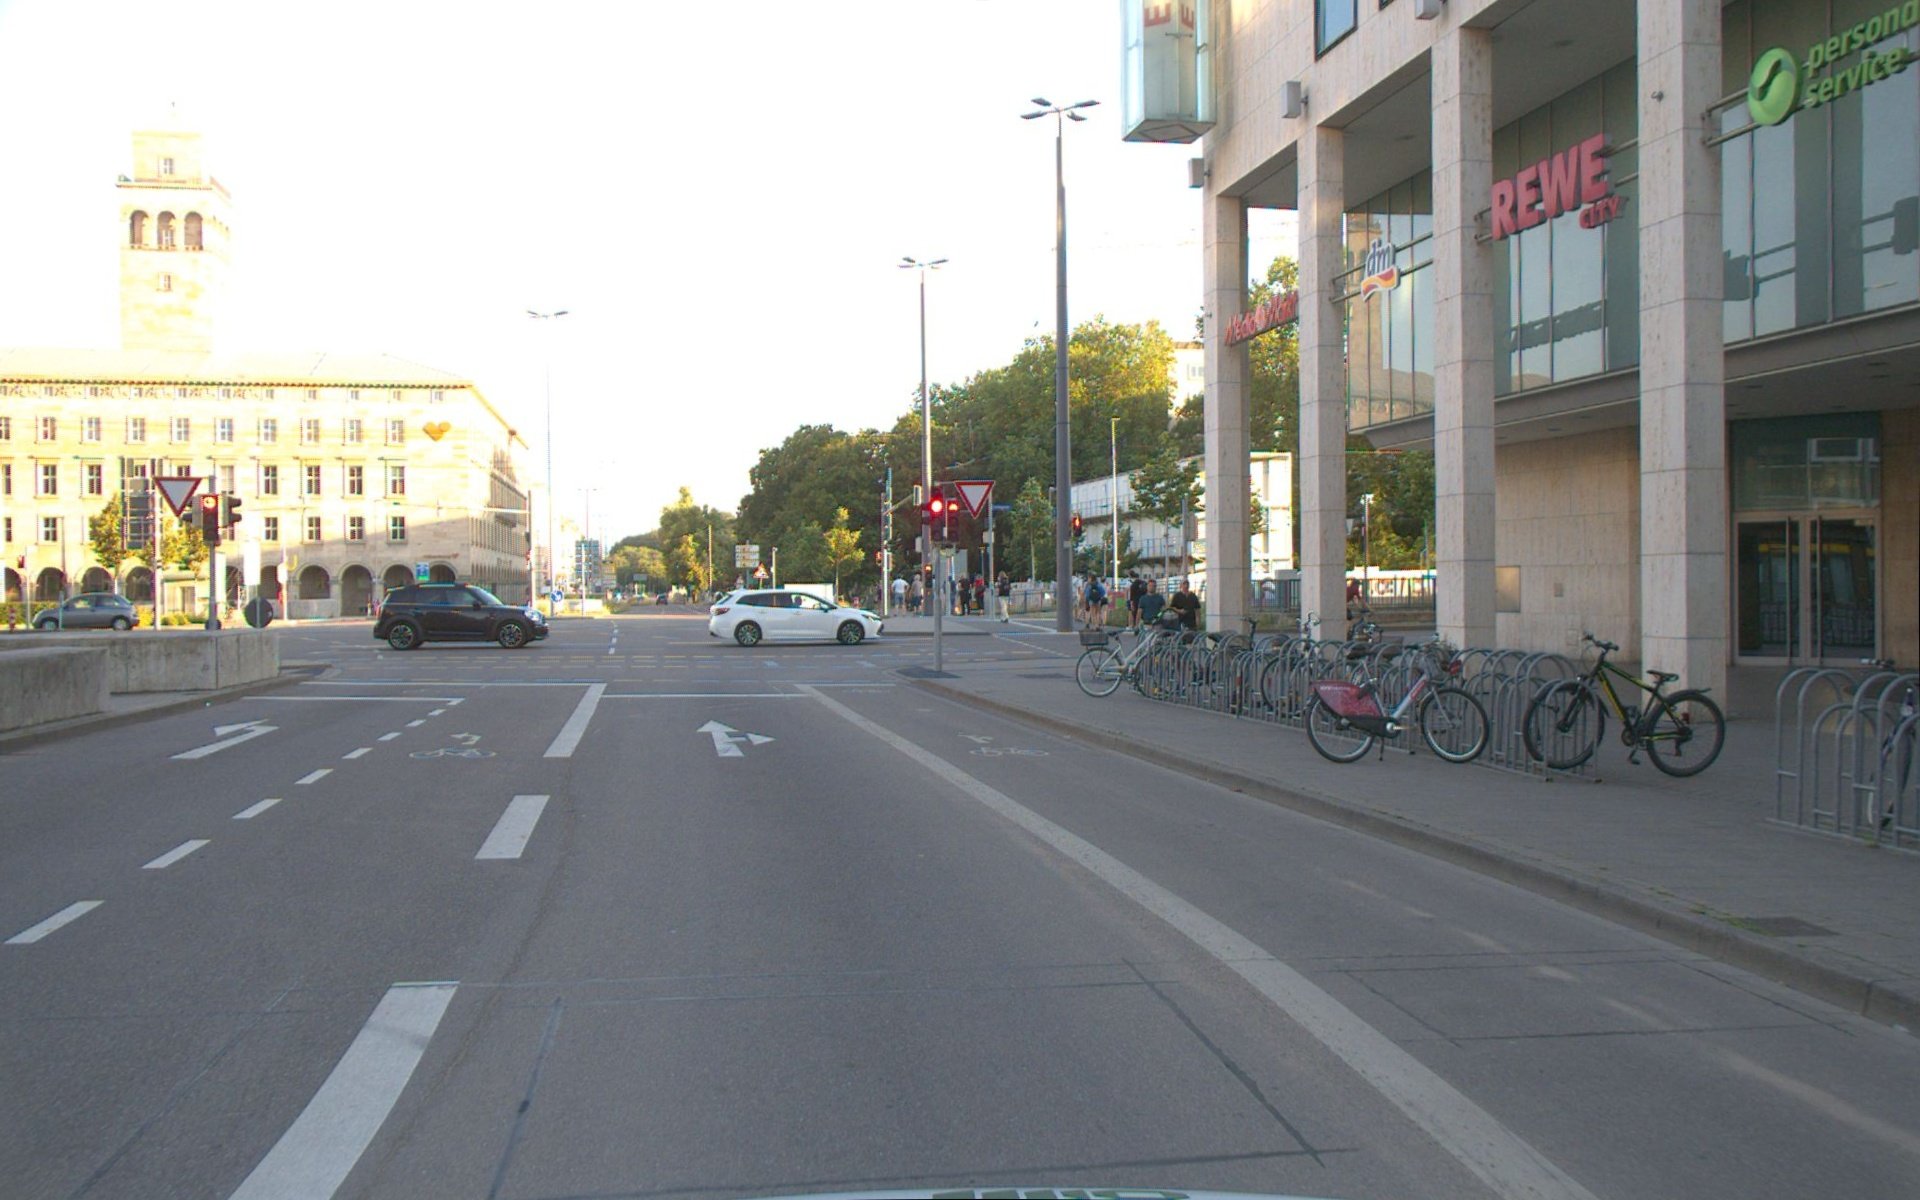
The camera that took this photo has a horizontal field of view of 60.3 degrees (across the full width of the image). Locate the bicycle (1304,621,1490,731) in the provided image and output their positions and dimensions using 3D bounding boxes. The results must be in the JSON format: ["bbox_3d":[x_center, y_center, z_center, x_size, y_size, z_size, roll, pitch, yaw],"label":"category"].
[{"bbox_3d":[4.699,0.813,17.817,1.836,1.133,0.569,1,0,-8],"label":"bicycle"}]

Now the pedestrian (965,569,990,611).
[{"bbox_3d":[0.741,-0.412,69.905,0.680,1.760,0.800,-1,1,-37],"label":"pedestrian"}]

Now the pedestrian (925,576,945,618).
[{"bbox_3d":[-1.068,-0.128,69.777,0.791,1.760,0.688,-1,0,1],"label":"pedestrian"}]

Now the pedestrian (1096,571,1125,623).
[{"bbox_3d":[5.105,-0.110,56.140,0.818,1.760,0.688,-1,1,19],"label":"pedestrian"}]

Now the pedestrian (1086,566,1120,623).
[{"bbox_3d":[4.427,-0.174,51.194,0.677,1.760,0.888,-1,1,-26],"label":"pedestrian"}]

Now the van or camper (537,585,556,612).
[{"bbox_3d":[-43.913,-0.203,175.684,1.852,2.808,4.912,-1,1,-15],"label":"van or camper"}]

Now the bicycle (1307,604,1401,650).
[{"bbox_3d":[9.766,0.655,40.984,2.202,1.080,0.652,-1,1,-11],"label":"bicycle"}]

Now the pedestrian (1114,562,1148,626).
[{"bbox_3d":[5.026,-0.175,48.628,0.875,1.872,0.687,-1,0,-6],"label":"pedestrian"}]

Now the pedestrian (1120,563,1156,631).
[{"bbox_3d":[4.956,-0.083,46.022,0.875,1.862,0.687,-1,0,-3],"label":"pedestrian"}]

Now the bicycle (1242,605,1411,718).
[{"bbox_3d":[4.327,0.721,19.551,1.834,1.282,0.671,1,0,-13],"label":"bicycle"}]

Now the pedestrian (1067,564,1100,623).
[{"bbox_3d":[3.740,-0.202,50.185,0.876,1.760,0.687,-1,0,-7],"label":"pedestrian"}]

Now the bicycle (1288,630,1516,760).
[{"bbox_3d":[3.888,0.821,14.589,1.862,1.066,0.570,-1,0,-7],"label":"bicycle"}]

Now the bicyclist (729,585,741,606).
[{"bbox_3d":[-13.813,-0.277,101.497,0.640,1.245,0.858,-1,1,-15],"label":"bicyclist"}]

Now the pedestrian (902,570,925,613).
[{"bbox_3d":[-1.935,-0.343,68.733,0.794,1.760,0.686,-1,1,-13],"label":"pedestrian"}]

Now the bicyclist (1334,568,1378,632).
[{"bbox_3d":[9.809,-0.001,40.986,0.863,1.557,0.652,-1,1,-11],"label":"bicyclist"}]

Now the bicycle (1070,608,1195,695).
[{"bbox_3d":[2.523,0.752,24.293,1.779,1.233,0.571,-1,0,4],"label":"bicycle"}]

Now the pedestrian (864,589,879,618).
[{"bbox_3d":[-5.485,0.225,102.152,0.794,1.760,0.926,-1,1,-13],"label":"pedestrian"}]

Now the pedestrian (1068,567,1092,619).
[{"bbox_3d":[4.134,-0.253,57.027,0.818,1.760,0.688,-1,0,5],"label":"pedestrian"}]

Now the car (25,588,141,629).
[{"bbox_3d":[-33.665,0.322,63.578,3.656,1.478,1.538,-1,1,-18],"label":"car"}]

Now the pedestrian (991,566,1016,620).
[{"bbox_3d":[1.414,-0.243,54.265,0.679,1.760,0.740,-1,1,-9],"label":"pedestrian"}]

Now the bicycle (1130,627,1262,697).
[{"bbox_3d":[3.429,0.896,24.081,1.834,0.952,0.515,-1,0,-13],"label":"bicycle"}]

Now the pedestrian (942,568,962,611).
[{"bbox_3d":[-0.326,-0.446,69.143,0.791,1.760,0.688,-1,0,1],"label":"pedestrian"}]

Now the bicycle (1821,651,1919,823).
[{"bbox_3d":[6.615,0.872,11.041,1.679,1.041,0.596,-1,1,-23],"label":"bicycle"}]

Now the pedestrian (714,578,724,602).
[{"bbox_3d":[-14.318,-0.587,98.326,0.514,1.398,0.685,-1,1,-15],"label":"pedestrian"}]

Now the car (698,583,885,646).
[{"bbox_3d":[-4.464,0.355,43.505,4.712,1.522,2.122,-1,1,-12],"label":"car"}]

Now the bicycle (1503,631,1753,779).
[{"bbox_3d":[5.430,0.846,13.484,1.780,1.119,0.600,2,0,-4],"label":"bicycle"}]

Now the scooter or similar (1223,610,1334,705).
[{"bbox_3d":[4.098,0.730,21.310,1.253,1.180,0.671,0,0,-13],"label":"scooter or similar"}]

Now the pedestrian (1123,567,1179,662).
[{"bbox_3d":[3.780,0.279,32.814,0.845,1.807,0.739,-3,1,-10],"label":"pedestrian"}]

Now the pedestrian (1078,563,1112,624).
[{"bbox_3d":[3.955,-0.189,48.607,0.875,1.760,0.687,-1,0,-4],"label":"pedestrian"}]

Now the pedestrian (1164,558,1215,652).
[{"bbox_3d":[4.556,0.100,32.882,0.742,1.807,0.739,-3,1,-10],"label":"pedestrian"}]

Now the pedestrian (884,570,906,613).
[{"bbox_3d":[-2.699,-0.353,68.432,0.794,1.760,0.686,-1,1,-13],"label":"pedestrian"}]

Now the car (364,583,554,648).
[{"bbox_3d":[-12.620,0.353,41.916,4.382,1.522,2.122,-1,1,-12],"label":"car"}]

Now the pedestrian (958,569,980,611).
[{"bbox_3d":[0.366,-0.415,69.261,0.794,1.760,0.686,-1,1,-12],"label":"pedestrian"}]
